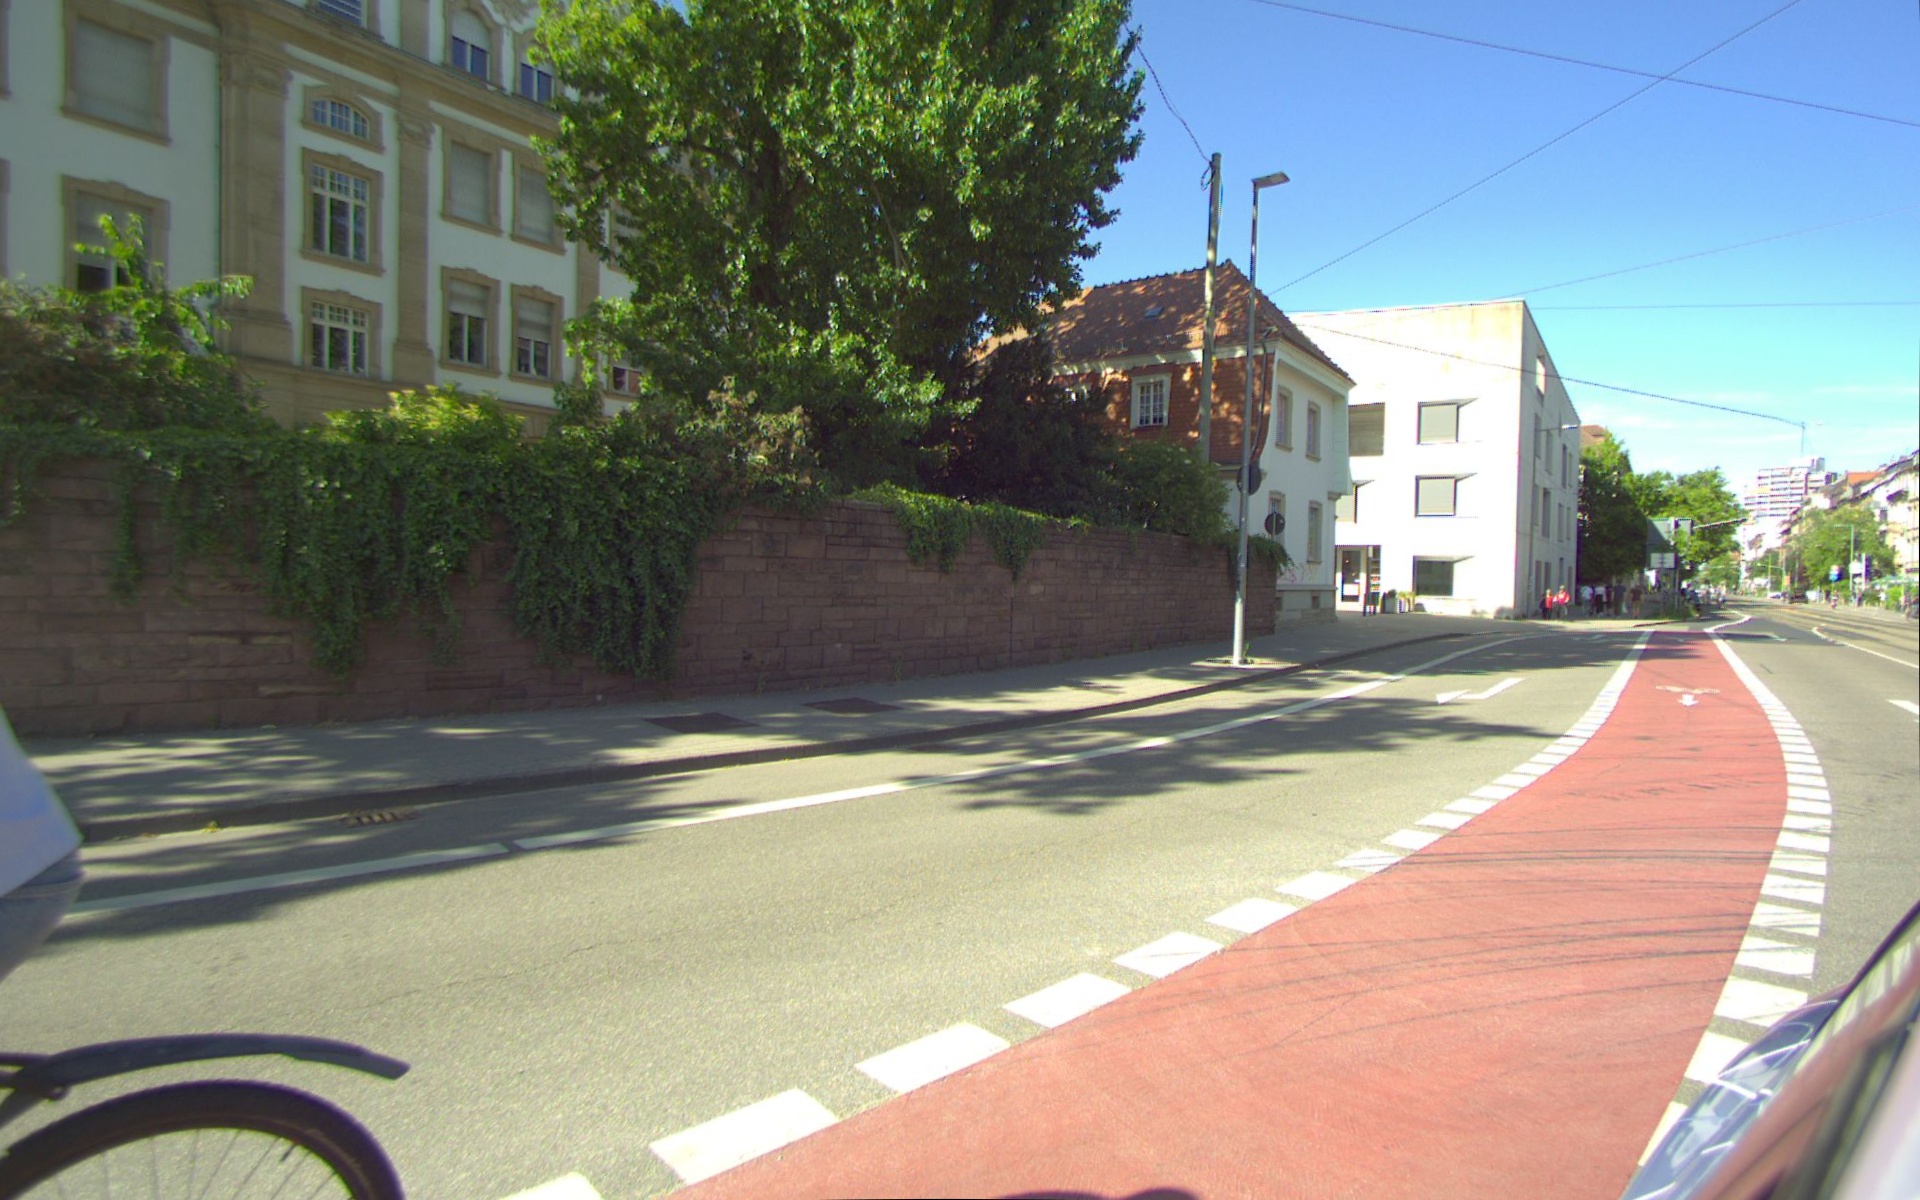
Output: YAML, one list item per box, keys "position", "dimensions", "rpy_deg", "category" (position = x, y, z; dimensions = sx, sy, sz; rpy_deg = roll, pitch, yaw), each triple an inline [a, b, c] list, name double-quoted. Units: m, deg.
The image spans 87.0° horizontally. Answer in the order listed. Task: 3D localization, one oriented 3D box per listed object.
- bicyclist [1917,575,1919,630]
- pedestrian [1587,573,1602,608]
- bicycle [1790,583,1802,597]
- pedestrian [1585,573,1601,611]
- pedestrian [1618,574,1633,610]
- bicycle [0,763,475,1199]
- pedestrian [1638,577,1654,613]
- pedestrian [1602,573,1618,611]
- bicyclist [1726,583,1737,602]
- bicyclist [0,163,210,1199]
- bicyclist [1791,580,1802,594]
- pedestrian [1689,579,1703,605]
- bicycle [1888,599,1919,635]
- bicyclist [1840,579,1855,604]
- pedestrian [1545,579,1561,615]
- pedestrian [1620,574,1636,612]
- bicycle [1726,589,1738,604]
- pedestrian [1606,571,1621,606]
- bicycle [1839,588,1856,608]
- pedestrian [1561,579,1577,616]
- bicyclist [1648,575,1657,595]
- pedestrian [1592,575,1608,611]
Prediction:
- position: [52.920, 0.149, 54.761]
  dimensions: [1.461, 3.012, 0.994]
  rpy_deg: [0, 1, 30]
  category: "bicyclist"
- position: [33.683, -0.527, 53.710]
  dimensions: [0.584, 1.828, 0.538]
  rpy_deg: [2, 1, 36]
  category: "pedestrian"
- position: [105.049, -1.269, 127.139]
  dimensions: [0.998, 1.702, 2.946]
  rpy_deg: [0, 2, 37]
  category: "bicycle"
- position: [31.650, -0.405, 50.580]
  dimensions: [0.584, 1.828, 0.538]
  rpy_deg: [2, 1, 36]
  category: "pedestrian"
- position: [33.953, -0.397, 51.613]
  dimensions: [0.584, 1.828, 0.575]
  rpy_deg: [2, 1, 36]
  category: "pedestrian"
- position: [-1.594, 0.867, 1.168]
  dimensions: [1.795, 1.090, 0.613]
  rpy_deg: [0, 1, -35]
  category: "bicycle"
- position: [33.387, -0.240, 49.276]
  dimensions: [0.584, 1.749, 0.513]
  rpy_deg: [2, 1, 36]
  category: "pedestrian"
- position: [32.220, -0.399, 50.158]
  dimensions: [0.584, 1.828, 0.538]
  rpy_deg: [2, 1, 36]
  category: "pedestrian"
- position: [60.285, -0.588, 79.054]
  dimensions: [0.663, 1.480, 0.613]
  rpy_deg: [0, 1, 41]
  category: "bicyclist"
- position: [-1.527, 0.428, 1.193]
  dimensions: [0.995, 1.798, 0.752]
  rpy_deg: [0, 1, -34]
  category: "bicyclist"
- position: [105.039, -1.693, 127.130]
  dimensions: [0.998, 1.743, 0.972]
  rpy_deg: [0, 1, 37]
  category: "bicyclist"
- position: [50.900, -0.573, 69.983]
  dimensions: [0.675, 1.759, 0.919]
  rpy_deg: [2, 2, 38]
  category: "pedestrian"
- position: [52.946, 0.933, 54.784]
  dimensions: [3.861, 1.910, 0.994]
  rpy_deg: [0, 1, 30]
  category: "bicycle"
- position: [80.991, -0.776, 92.351]
  dimensions: [0.999, 2.296, 1.006]
  rpy_deg: [0, 1, 39]
  category: "bicyclist"
- position: [26.277, -0.137, 44.816]
  dimensions: [0.531, 1.586, 0.513]
  rpy_deg: [2, 1, 36]
  category: "pedestrian"
- position: [32.783, -0.331, 49.649]
  dimensions: [0.584, 1.828, 0.513]
  rpy_deg: [2, 1, 36]
  category: "pedestrian"
- position: [60.301, -0.291, 79.071]
  dimensions: [0.663, 1.166, 1.648]
  rpy_deg: [0, 2, 40]
  category: "bicycle"
- position: [34.343, -0.591, 53.197]
  dimensions: [0.584, 1.828, 0.538]
  rpy_deg: [2, 1, 36]
  category: "pedestrian"
- position: [81.026, -0.170, 92.393]
  dimensions: [0.999, 1.702, 2.943]
  rpy_deg: [0, 2, 39]
  category: "bicycle"
- position: [26.734, -0.126, 44.399]
  dimensions: [0.531, 1.586, 0.513]
  rpy_deg: [2, 1, 36]
  category: "pedestrian"
- position: [81.322, -1.773, 118.786]
  dimensions: [0.809, 2.234, 0.971]
  rpy_deg: [0, 1, 39]
  category: "bicyclist"
- position: [32.936, -0.390, 52.079]
  dimensions: [0.584, 1.828, 0.575]
  rpy_deg: [2, 1, 36]
  category: "pedestrian"
